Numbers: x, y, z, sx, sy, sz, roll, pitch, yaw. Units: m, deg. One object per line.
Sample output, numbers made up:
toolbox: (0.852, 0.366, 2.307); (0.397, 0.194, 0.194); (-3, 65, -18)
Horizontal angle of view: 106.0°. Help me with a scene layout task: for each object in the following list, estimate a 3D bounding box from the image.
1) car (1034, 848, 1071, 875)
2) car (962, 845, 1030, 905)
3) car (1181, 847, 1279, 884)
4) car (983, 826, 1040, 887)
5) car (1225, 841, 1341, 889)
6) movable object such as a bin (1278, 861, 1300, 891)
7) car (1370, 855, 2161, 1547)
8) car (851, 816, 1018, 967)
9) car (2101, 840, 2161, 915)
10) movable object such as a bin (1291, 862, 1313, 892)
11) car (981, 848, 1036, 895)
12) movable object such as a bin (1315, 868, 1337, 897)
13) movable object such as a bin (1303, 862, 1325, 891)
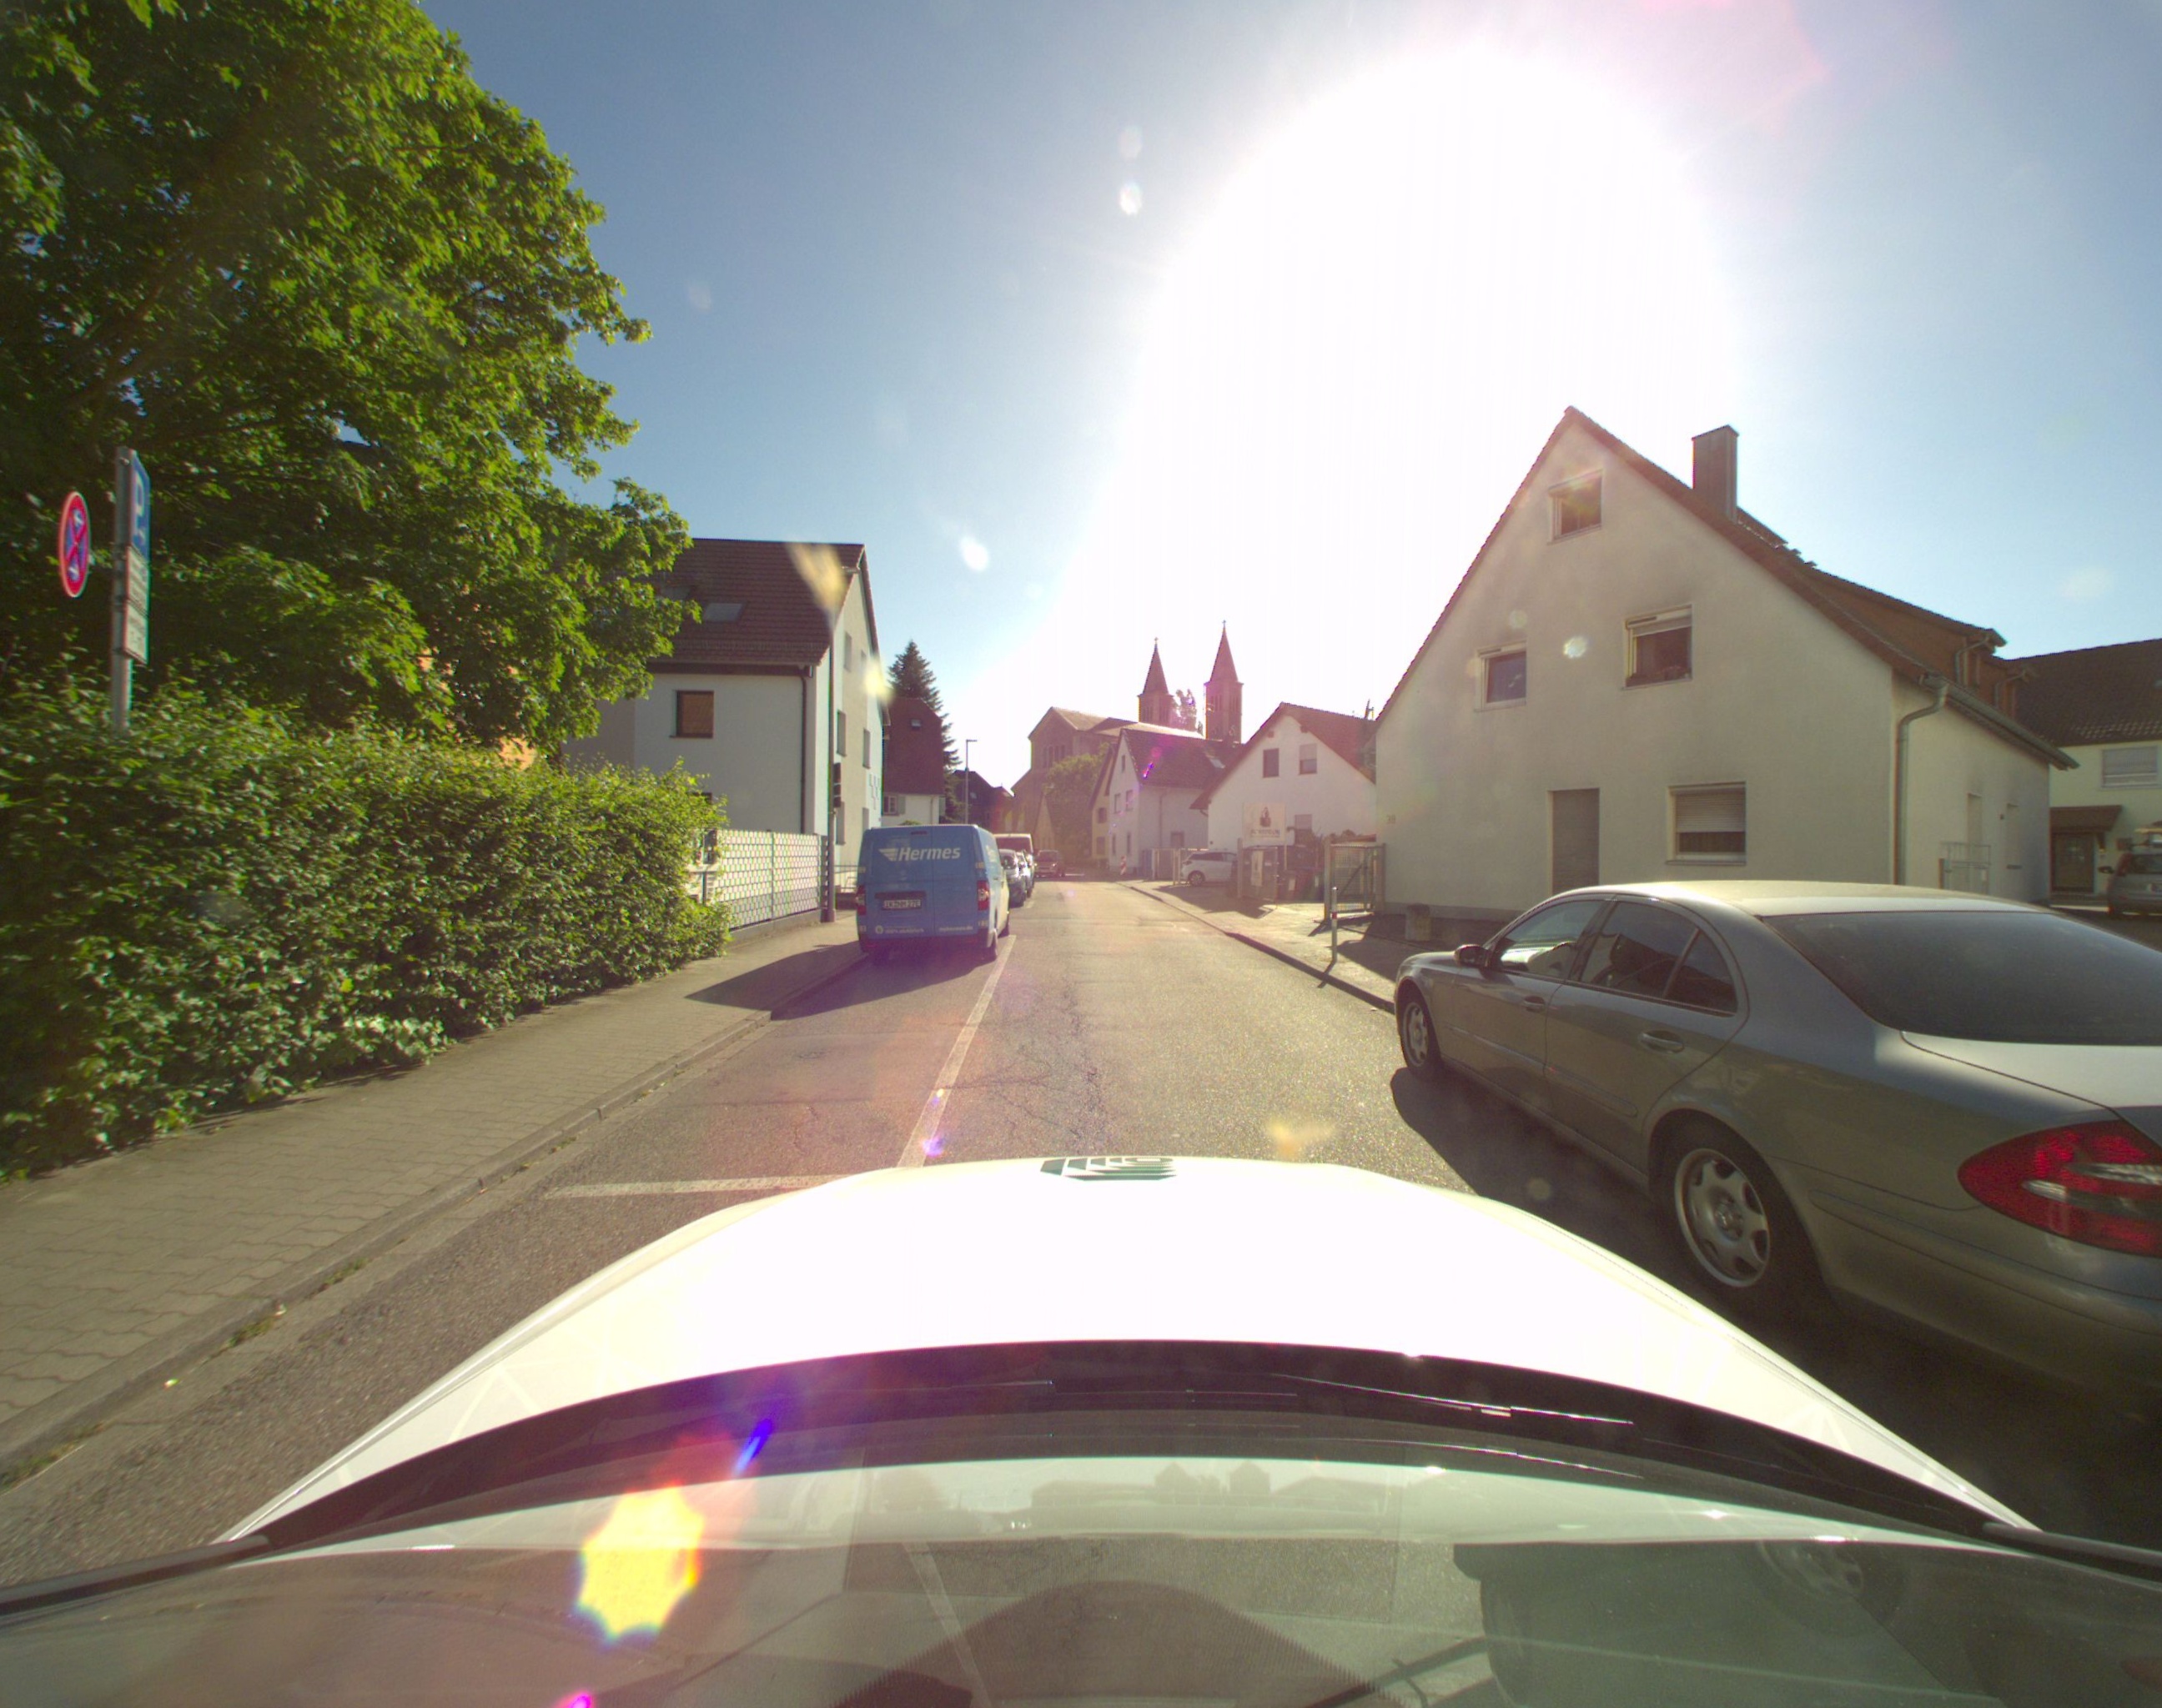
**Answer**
car: (-1.598, 0.404, 46.739); (1.565, 1.546, 2.972); (0, 0, 8)
car: (-2.420, 0.552, 23.968); (1.710, 1.598, 3.921); (-1, 0, -3)
car: (6.134, 0.463, 33.870); (3.892, 1.492, 1.850); (0, 0, 6)
car: (-2.933, 0.070, 35.607); (2.192, 2.390, 6.059); (-1, 1, -3)
car: (7.572, 0.364, 30.430); (4.062, 1.688, 1.893); (-1, 1, -31)
movable object such as a bin: (6.605, 0.710, 25.886); (0.518, 0.923, 0.418); (3, -1, -32)
car: (3.125, 0.762, 4.103); (1.805, 1.475, 4.661); (0, 0, 2)
car: (-2.077, 0.463, 13.020); (1.897, 1.917, 5.066); (-1, 0, -2)
car: (23.262, 0.505, 17.529); (3.486, 1.507, 1.622); (1, 0, -38)
movable object such as a bin: (7.105, 0.733, 26.162); (0.518, 0.923, 0.418); (3, -1, -32)
car: (-2.483, 0.540, 28.674); (1.707, 1.504, 4.231); (-1, 0, -3)
movable object such as a bin: (8.045, 0.946, 26.741); (0.518, 0.923, 0.418); (3, -1, -32)
movable object such as a bin: (7.565, 0.720, 26.448); (0.518, 0.923, 0.418); (3, -1, -32)
